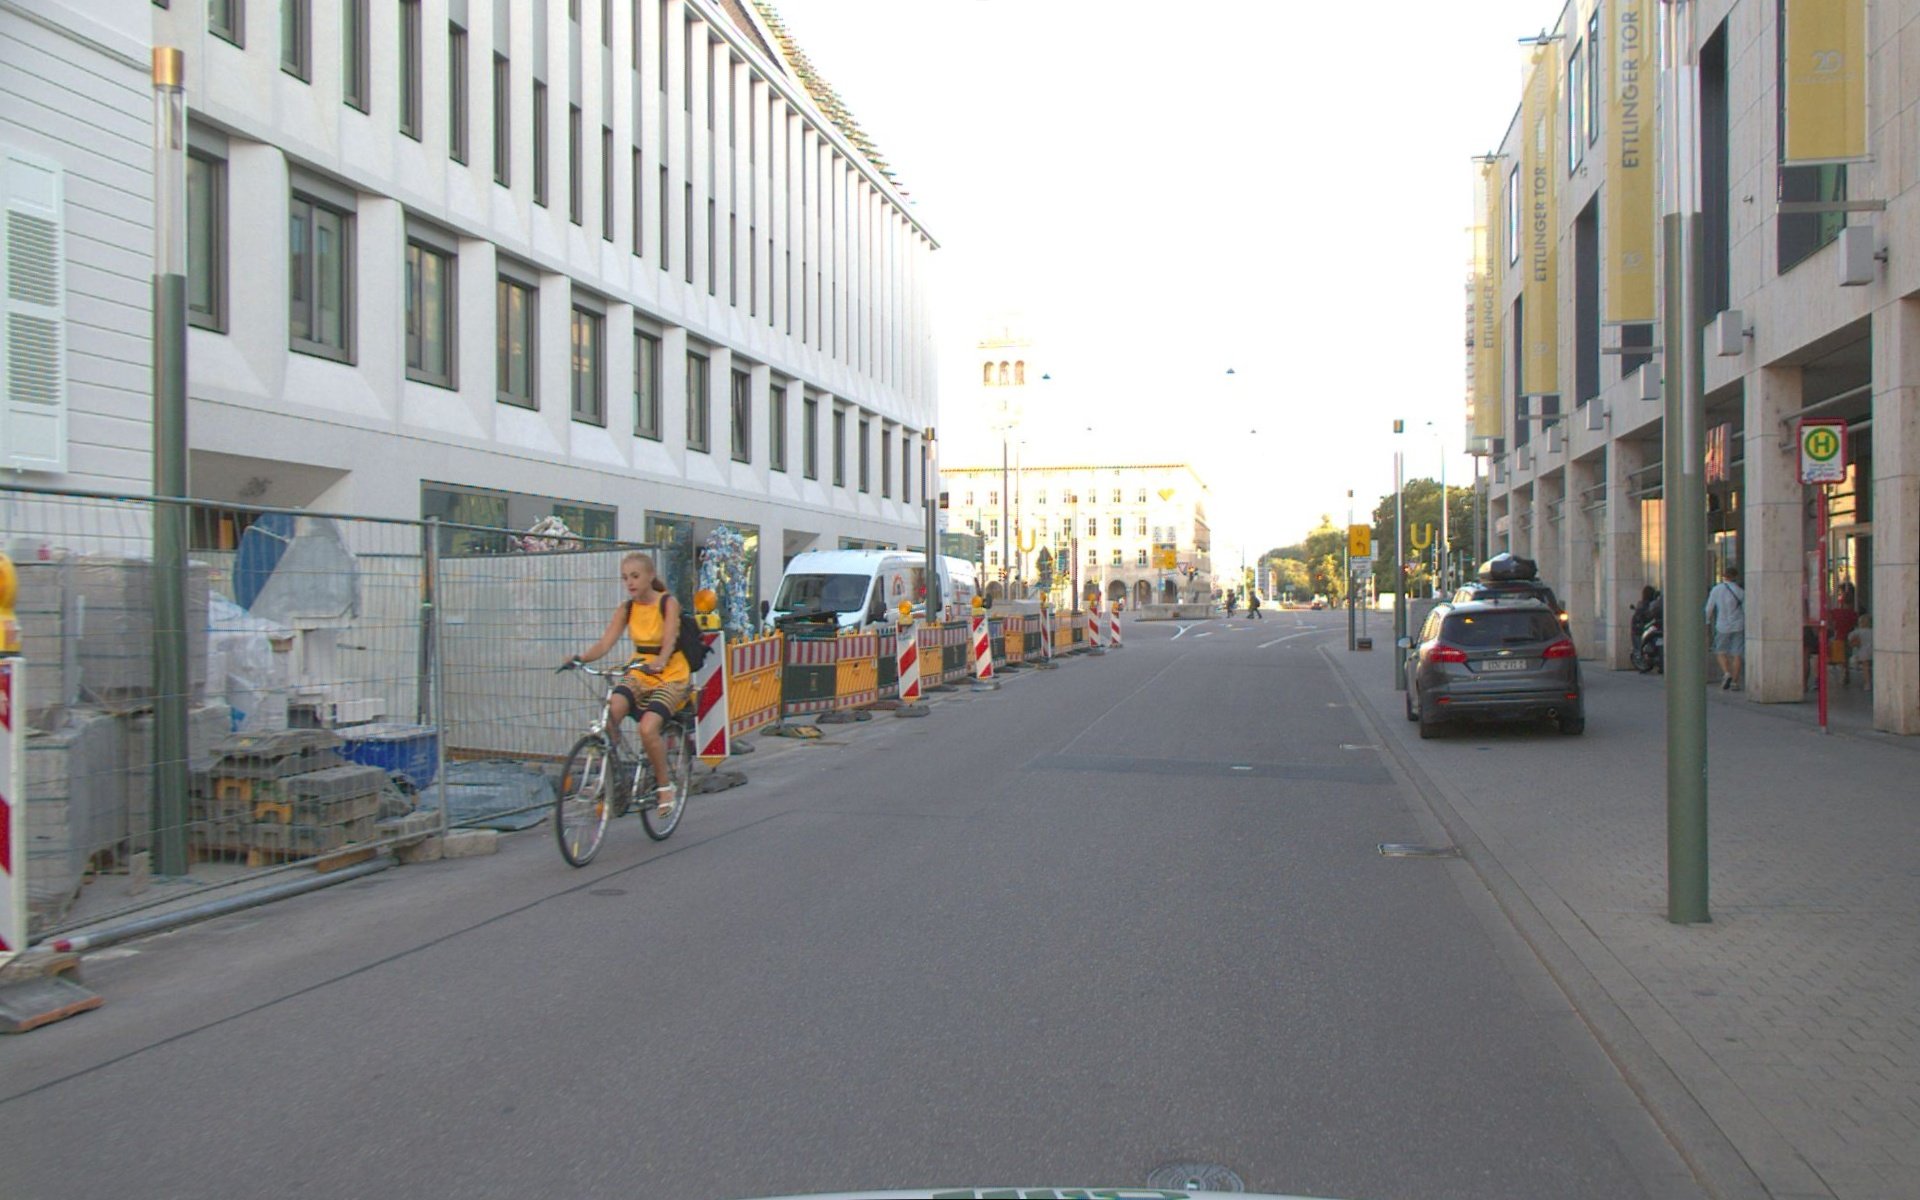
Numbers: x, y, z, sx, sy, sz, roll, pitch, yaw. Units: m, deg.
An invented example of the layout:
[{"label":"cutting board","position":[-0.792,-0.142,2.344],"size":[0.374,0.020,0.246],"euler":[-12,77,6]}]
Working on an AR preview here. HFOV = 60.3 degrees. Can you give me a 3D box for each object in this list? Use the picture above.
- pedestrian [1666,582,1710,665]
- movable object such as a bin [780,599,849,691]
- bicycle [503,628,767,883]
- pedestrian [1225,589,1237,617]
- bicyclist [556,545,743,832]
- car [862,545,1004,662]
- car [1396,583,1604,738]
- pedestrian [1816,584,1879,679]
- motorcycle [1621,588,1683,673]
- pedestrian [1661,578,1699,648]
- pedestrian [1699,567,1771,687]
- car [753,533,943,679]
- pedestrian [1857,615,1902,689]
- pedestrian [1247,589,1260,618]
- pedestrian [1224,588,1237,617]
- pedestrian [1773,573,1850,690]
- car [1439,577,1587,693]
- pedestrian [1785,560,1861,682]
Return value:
[{"label":"pedestrian","position":[14.313,0.452,32.530],"size":[0.620,1.595,0.776],"euler":[0,2,11]},{"label":"movable object such as a bin","position":[-2.407,0.730,27.509],"size":[1.022,1.492,1.394],"euler":[0,0,0]},{"label":"bicycle","position":[-1.788,0.808,9.523],"size":[0.779,1.238,2.235],"euler":[0,0,8]},{"label":"pedestrian","position":[17.798,0.171,108.611],"size":[0.722,1.808,0.864],"euler":[-3,0,9]},{"label":"bicyclist","position":[-1.767,0.481,9.550],"size":[0.779,1.559,0.975],"euler":[0,0,8]},{"label":"car","position":[-0.523,0.061,38.940],"size":[2.127,2.513,6.004],"euler":[0,0,11]},{"label":"car","position":[6.178,0.636,19.356],"size":[1.757,1.516,4.196],"euler":[-4,-1,12]},{"label":"pedestrian","position":[13.274,0.463,24.747],"size":[0.620,1.369,0.776],"euler":[0,2,11]},{"label":"motorcycle","position":[12.265,0.518,29.368],"size":[0.678,1.441,2.137],"euler":[0,0,13]},{"label":"pedestrian","position":[16.296,0.295,37.443],"size":[0.620,1.569,0.776],"euler":[0,0,11]},{"label":"pedestrian","position":[11.293,0.381,24.125],"size":[0.748,1.710,0.878],"euler":[0,2,11]},{"label":"car","position":[-1.984,0.092,31.624],"size":[2.127,2.513,6.004],"euler":[0,0,11]},{"label":"pedestrian","position":[12.956,0.727,23.318],"size":[0.411,1.003,0.526],"euler":[0,2,11]},{"label":"pedestrian","position":[18.756,0.248,105.549],"size":[0.722,1.808,0.864],"euler":[-3,0,11]},{"label":"pedestrian","position":[17.630,0.160,107.912],"size":[0.722,1.808,0.864],"euler":[-3,0,11]},{"label":"pedestrian","position":[11.921,0.429,23.180],"size":[0.748,1.595,0.878],"euler":[0,2,11]},{"label":"car","position":[9.004,0.541,27.214],"size":[1.730,1.666,4.061],"euler":[-4,-1,12]},{"label":"pedestrian","position":[12.427,0.295,23.847],"size":[0.748,1.710,0.878],"euler":[0,2,11]}]
